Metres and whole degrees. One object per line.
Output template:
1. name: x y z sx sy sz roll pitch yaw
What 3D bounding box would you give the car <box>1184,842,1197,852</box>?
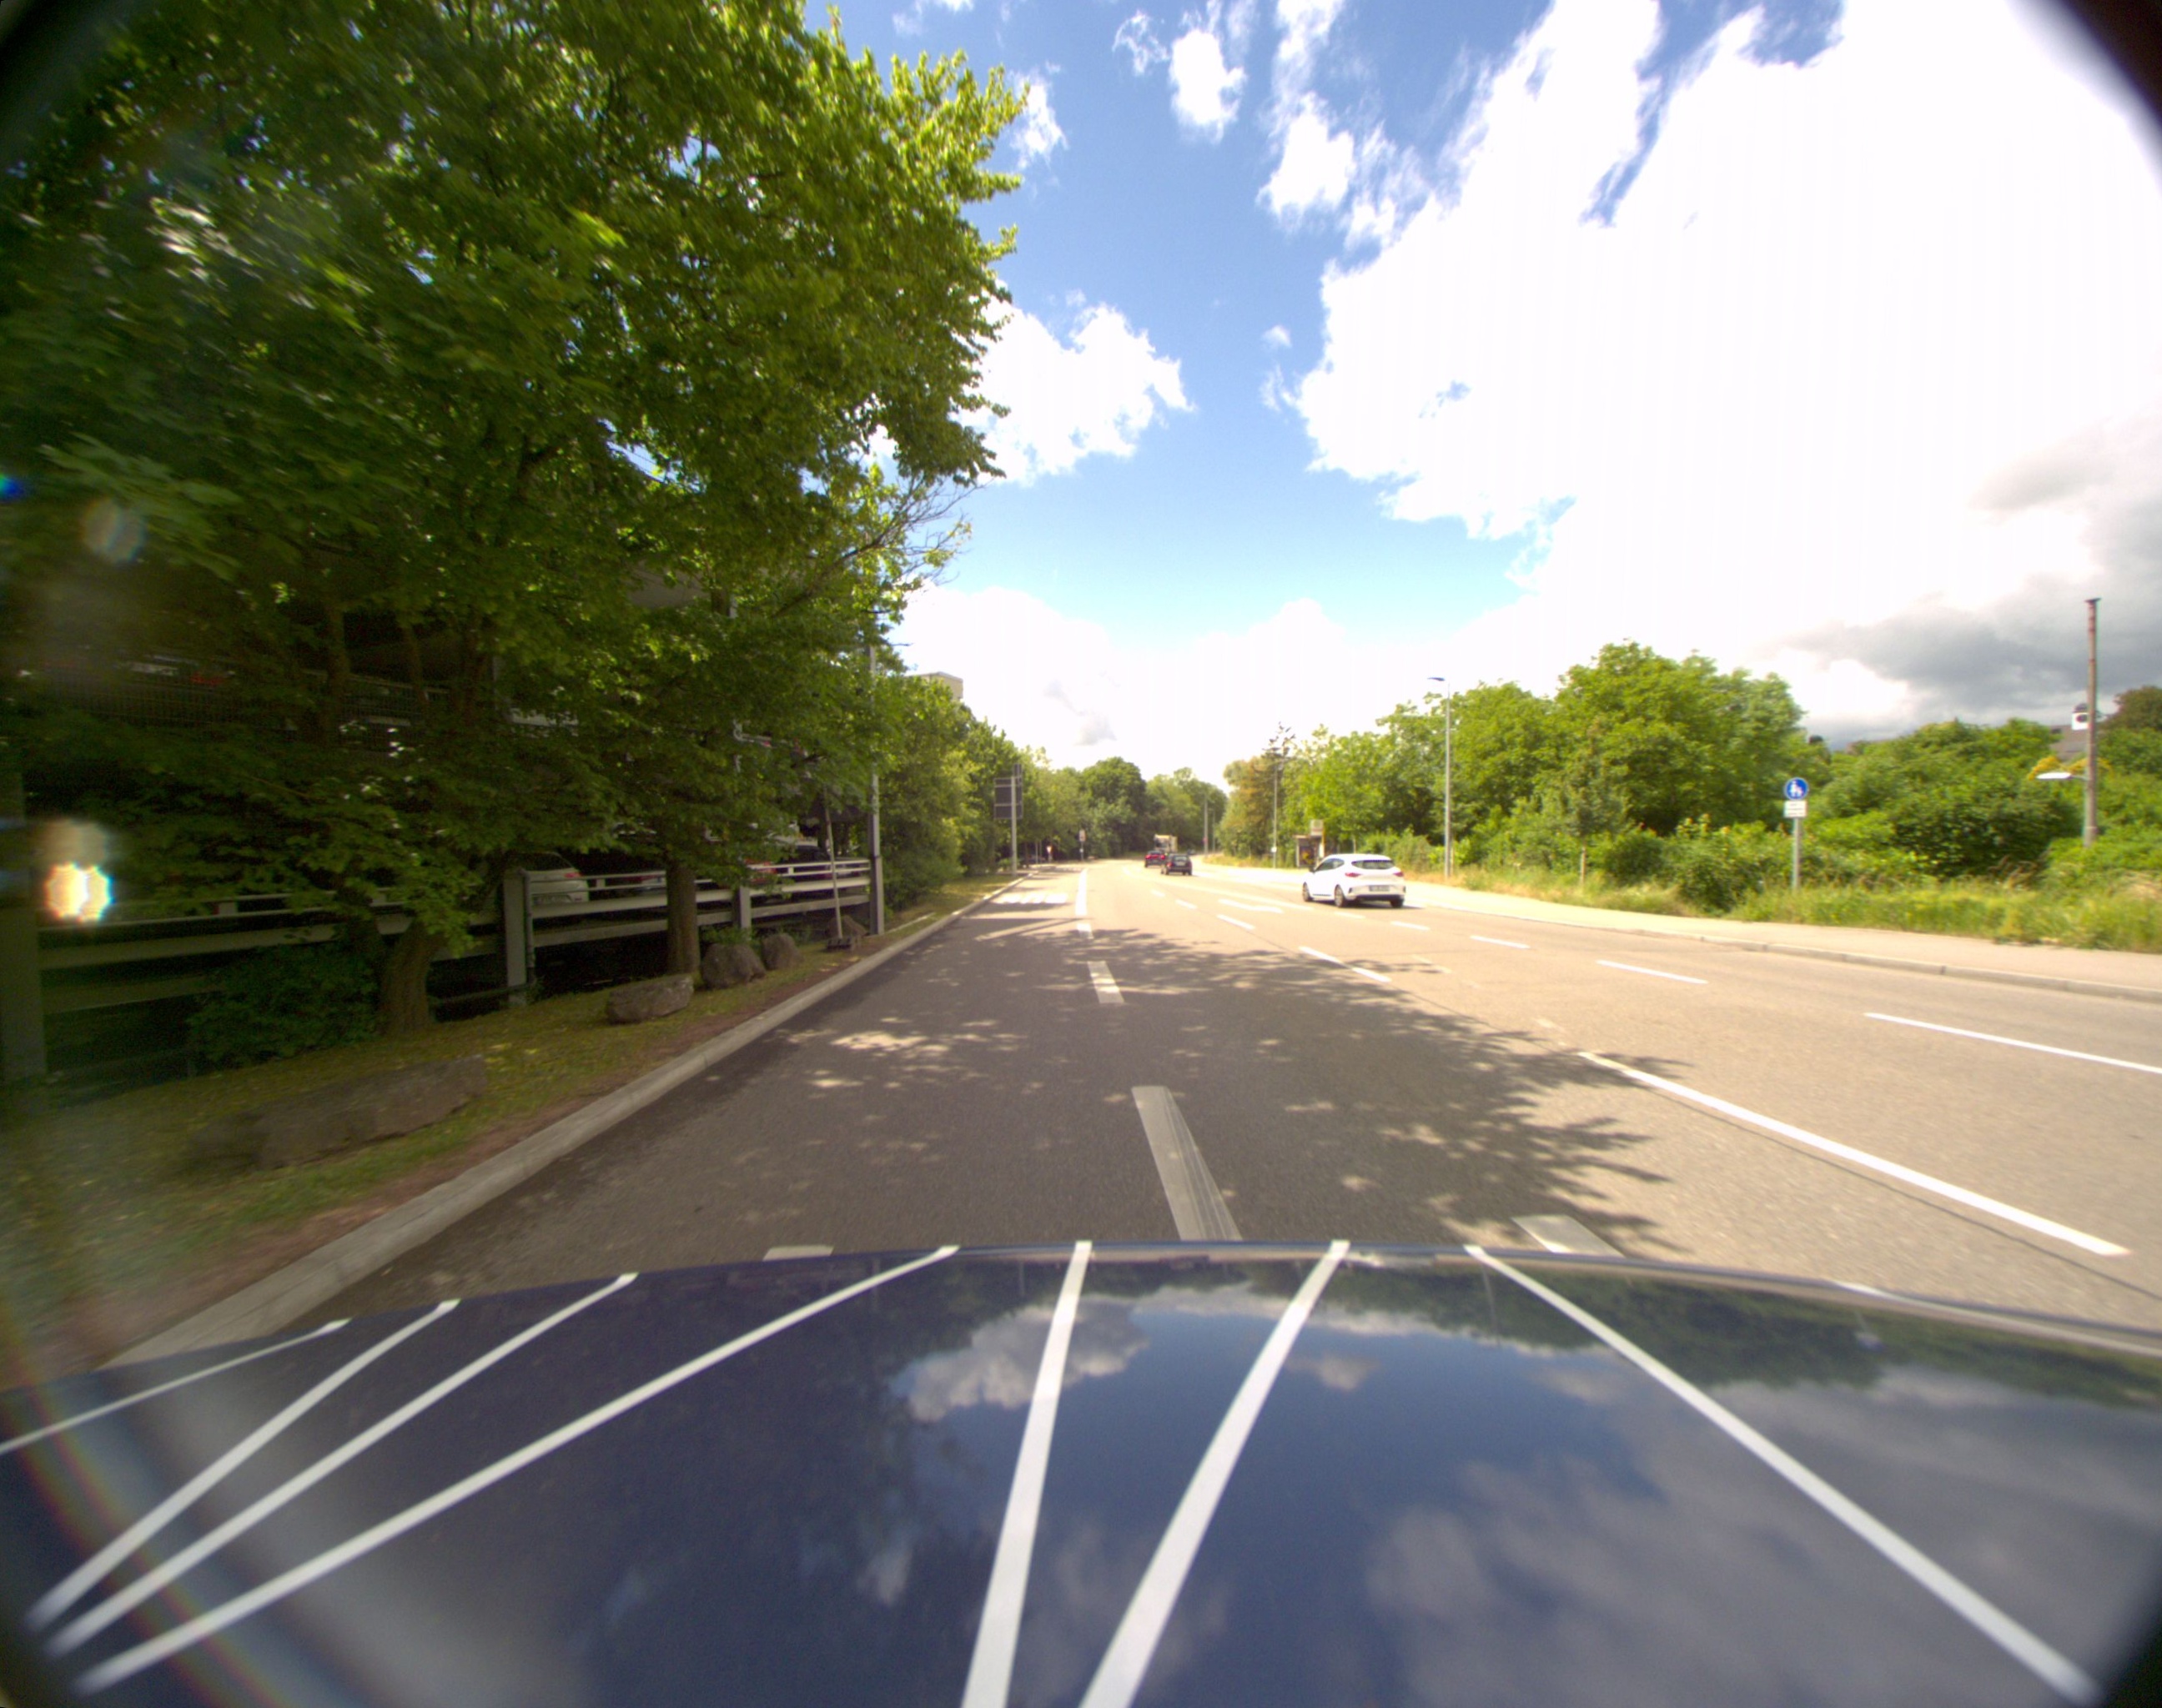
1. car: 22.809 -1.401 158.542 1.995 2.002 4.005 2 2 18

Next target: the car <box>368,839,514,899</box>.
1. car: -19.130 0.387 22.727 3.847 1.636 1.756 1 2 23

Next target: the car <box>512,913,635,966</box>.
1. car: -18.042 2.987 27.020 3.847 1.417 1.756 1 2 23

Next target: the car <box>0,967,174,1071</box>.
1. car: -21.359 3.380 16.063 3.847 1.439 1.698 1 2 23

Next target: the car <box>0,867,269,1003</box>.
1. car: -12.448 0.895 9.617 3.848 1.384 1.698 0 1 23

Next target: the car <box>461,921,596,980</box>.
1. car: -17.880 3.063 24.604 3.847 1.417 1.756 1 2 23

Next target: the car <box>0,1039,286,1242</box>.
1. car: -12.535 3.474 9.745 3.848 1.444 1.839 -1 1 21

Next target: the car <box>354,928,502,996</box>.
1. car: -19.285 3.132 22.446 3.847 1.458 1.756 1 2 23

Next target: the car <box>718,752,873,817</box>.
1. car: -7.524 -1.767 20.037 3.694 1.403 1.662 0 -1 24

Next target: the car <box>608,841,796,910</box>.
1. car: -9.021 0.470 18.123 3.848 1.506 1.839 -1 1 21

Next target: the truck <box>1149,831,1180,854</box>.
1. truck: 14.525 -2.064 131.297 3.236 3.839 9.884 2 2 18

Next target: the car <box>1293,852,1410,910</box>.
1. car: 7.496 0.697 21.472 1.771 1.434 3.898 0 1 -2

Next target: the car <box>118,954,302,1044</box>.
1. car: -20.540 3.335 17.928 3.847 1.439 1.698 1 2 23

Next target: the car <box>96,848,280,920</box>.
1. car: -21.105 0.630 17.964 3.847 1.477 1.698 1 2 23

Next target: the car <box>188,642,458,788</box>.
1. car: -11.470 -1.964 11.498 3.694 1.610 1.662 0 0 24

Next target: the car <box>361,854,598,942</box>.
1. car: -10.933 0.735 13.819 3.848 1.384 1.698 0 1 23

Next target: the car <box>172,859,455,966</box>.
1. car: -11.787 0.810 11.677 3.848 1.384 1.698 0 1 23

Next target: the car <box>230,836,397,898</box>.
1. car: -20.215 0.274 20.029 3.847 1.477 1.756 1 2 23

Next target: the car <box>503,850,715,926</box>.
1. car: -9.840 0.653 15.864 3.848 1.384 1.816 0 1 23

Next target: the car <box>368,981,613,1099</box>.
1. car: -10.961 3.344 14.142 3.848 1.444 1.839 -1 1 21

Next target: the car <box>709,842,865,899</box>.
1. car: -7.824 0.409 20.233 3.694 1.404 1.661 -1 1 22

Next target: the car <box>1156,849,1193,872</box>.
1. car: 6.251 0.398 51.200 1.771 1.434 4.375 0 1 -2

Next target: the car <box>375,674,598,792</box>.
1. car: -10.859 -2.091 13.883 3.694 1.631 1.662 0 0 24

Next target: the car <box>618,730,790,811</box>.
1. car: -8.968 -1.899 18.073 3.694 1.553 1.662 0 -1 24

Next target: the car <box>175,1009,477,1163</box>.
1. car: -11.634 3.427 11.746 3.848 1.444 1.839 -1 1 21

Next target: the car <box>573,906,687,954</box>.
1. car: -17.258 2.873 29.089 3.847 1.417 1.756 1 2 23

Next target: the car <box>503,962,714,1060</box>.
1. car: -10.058 3.254 16.213 3.848 1.444 1.839 -1 1 21

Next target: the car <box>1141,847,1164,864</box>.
1. car: 6.833 0.154 72.760 1.827 1.548 4.629 1 0 1

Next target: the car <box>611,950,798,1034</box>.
1. car: -8.969 3.211 18.160 3.848 1.444 1.839 -1 1 21

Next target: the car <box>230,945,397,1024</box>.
1. car: -19.849 3.294 19.650 3.847 1.439 1.698 1 2 23
